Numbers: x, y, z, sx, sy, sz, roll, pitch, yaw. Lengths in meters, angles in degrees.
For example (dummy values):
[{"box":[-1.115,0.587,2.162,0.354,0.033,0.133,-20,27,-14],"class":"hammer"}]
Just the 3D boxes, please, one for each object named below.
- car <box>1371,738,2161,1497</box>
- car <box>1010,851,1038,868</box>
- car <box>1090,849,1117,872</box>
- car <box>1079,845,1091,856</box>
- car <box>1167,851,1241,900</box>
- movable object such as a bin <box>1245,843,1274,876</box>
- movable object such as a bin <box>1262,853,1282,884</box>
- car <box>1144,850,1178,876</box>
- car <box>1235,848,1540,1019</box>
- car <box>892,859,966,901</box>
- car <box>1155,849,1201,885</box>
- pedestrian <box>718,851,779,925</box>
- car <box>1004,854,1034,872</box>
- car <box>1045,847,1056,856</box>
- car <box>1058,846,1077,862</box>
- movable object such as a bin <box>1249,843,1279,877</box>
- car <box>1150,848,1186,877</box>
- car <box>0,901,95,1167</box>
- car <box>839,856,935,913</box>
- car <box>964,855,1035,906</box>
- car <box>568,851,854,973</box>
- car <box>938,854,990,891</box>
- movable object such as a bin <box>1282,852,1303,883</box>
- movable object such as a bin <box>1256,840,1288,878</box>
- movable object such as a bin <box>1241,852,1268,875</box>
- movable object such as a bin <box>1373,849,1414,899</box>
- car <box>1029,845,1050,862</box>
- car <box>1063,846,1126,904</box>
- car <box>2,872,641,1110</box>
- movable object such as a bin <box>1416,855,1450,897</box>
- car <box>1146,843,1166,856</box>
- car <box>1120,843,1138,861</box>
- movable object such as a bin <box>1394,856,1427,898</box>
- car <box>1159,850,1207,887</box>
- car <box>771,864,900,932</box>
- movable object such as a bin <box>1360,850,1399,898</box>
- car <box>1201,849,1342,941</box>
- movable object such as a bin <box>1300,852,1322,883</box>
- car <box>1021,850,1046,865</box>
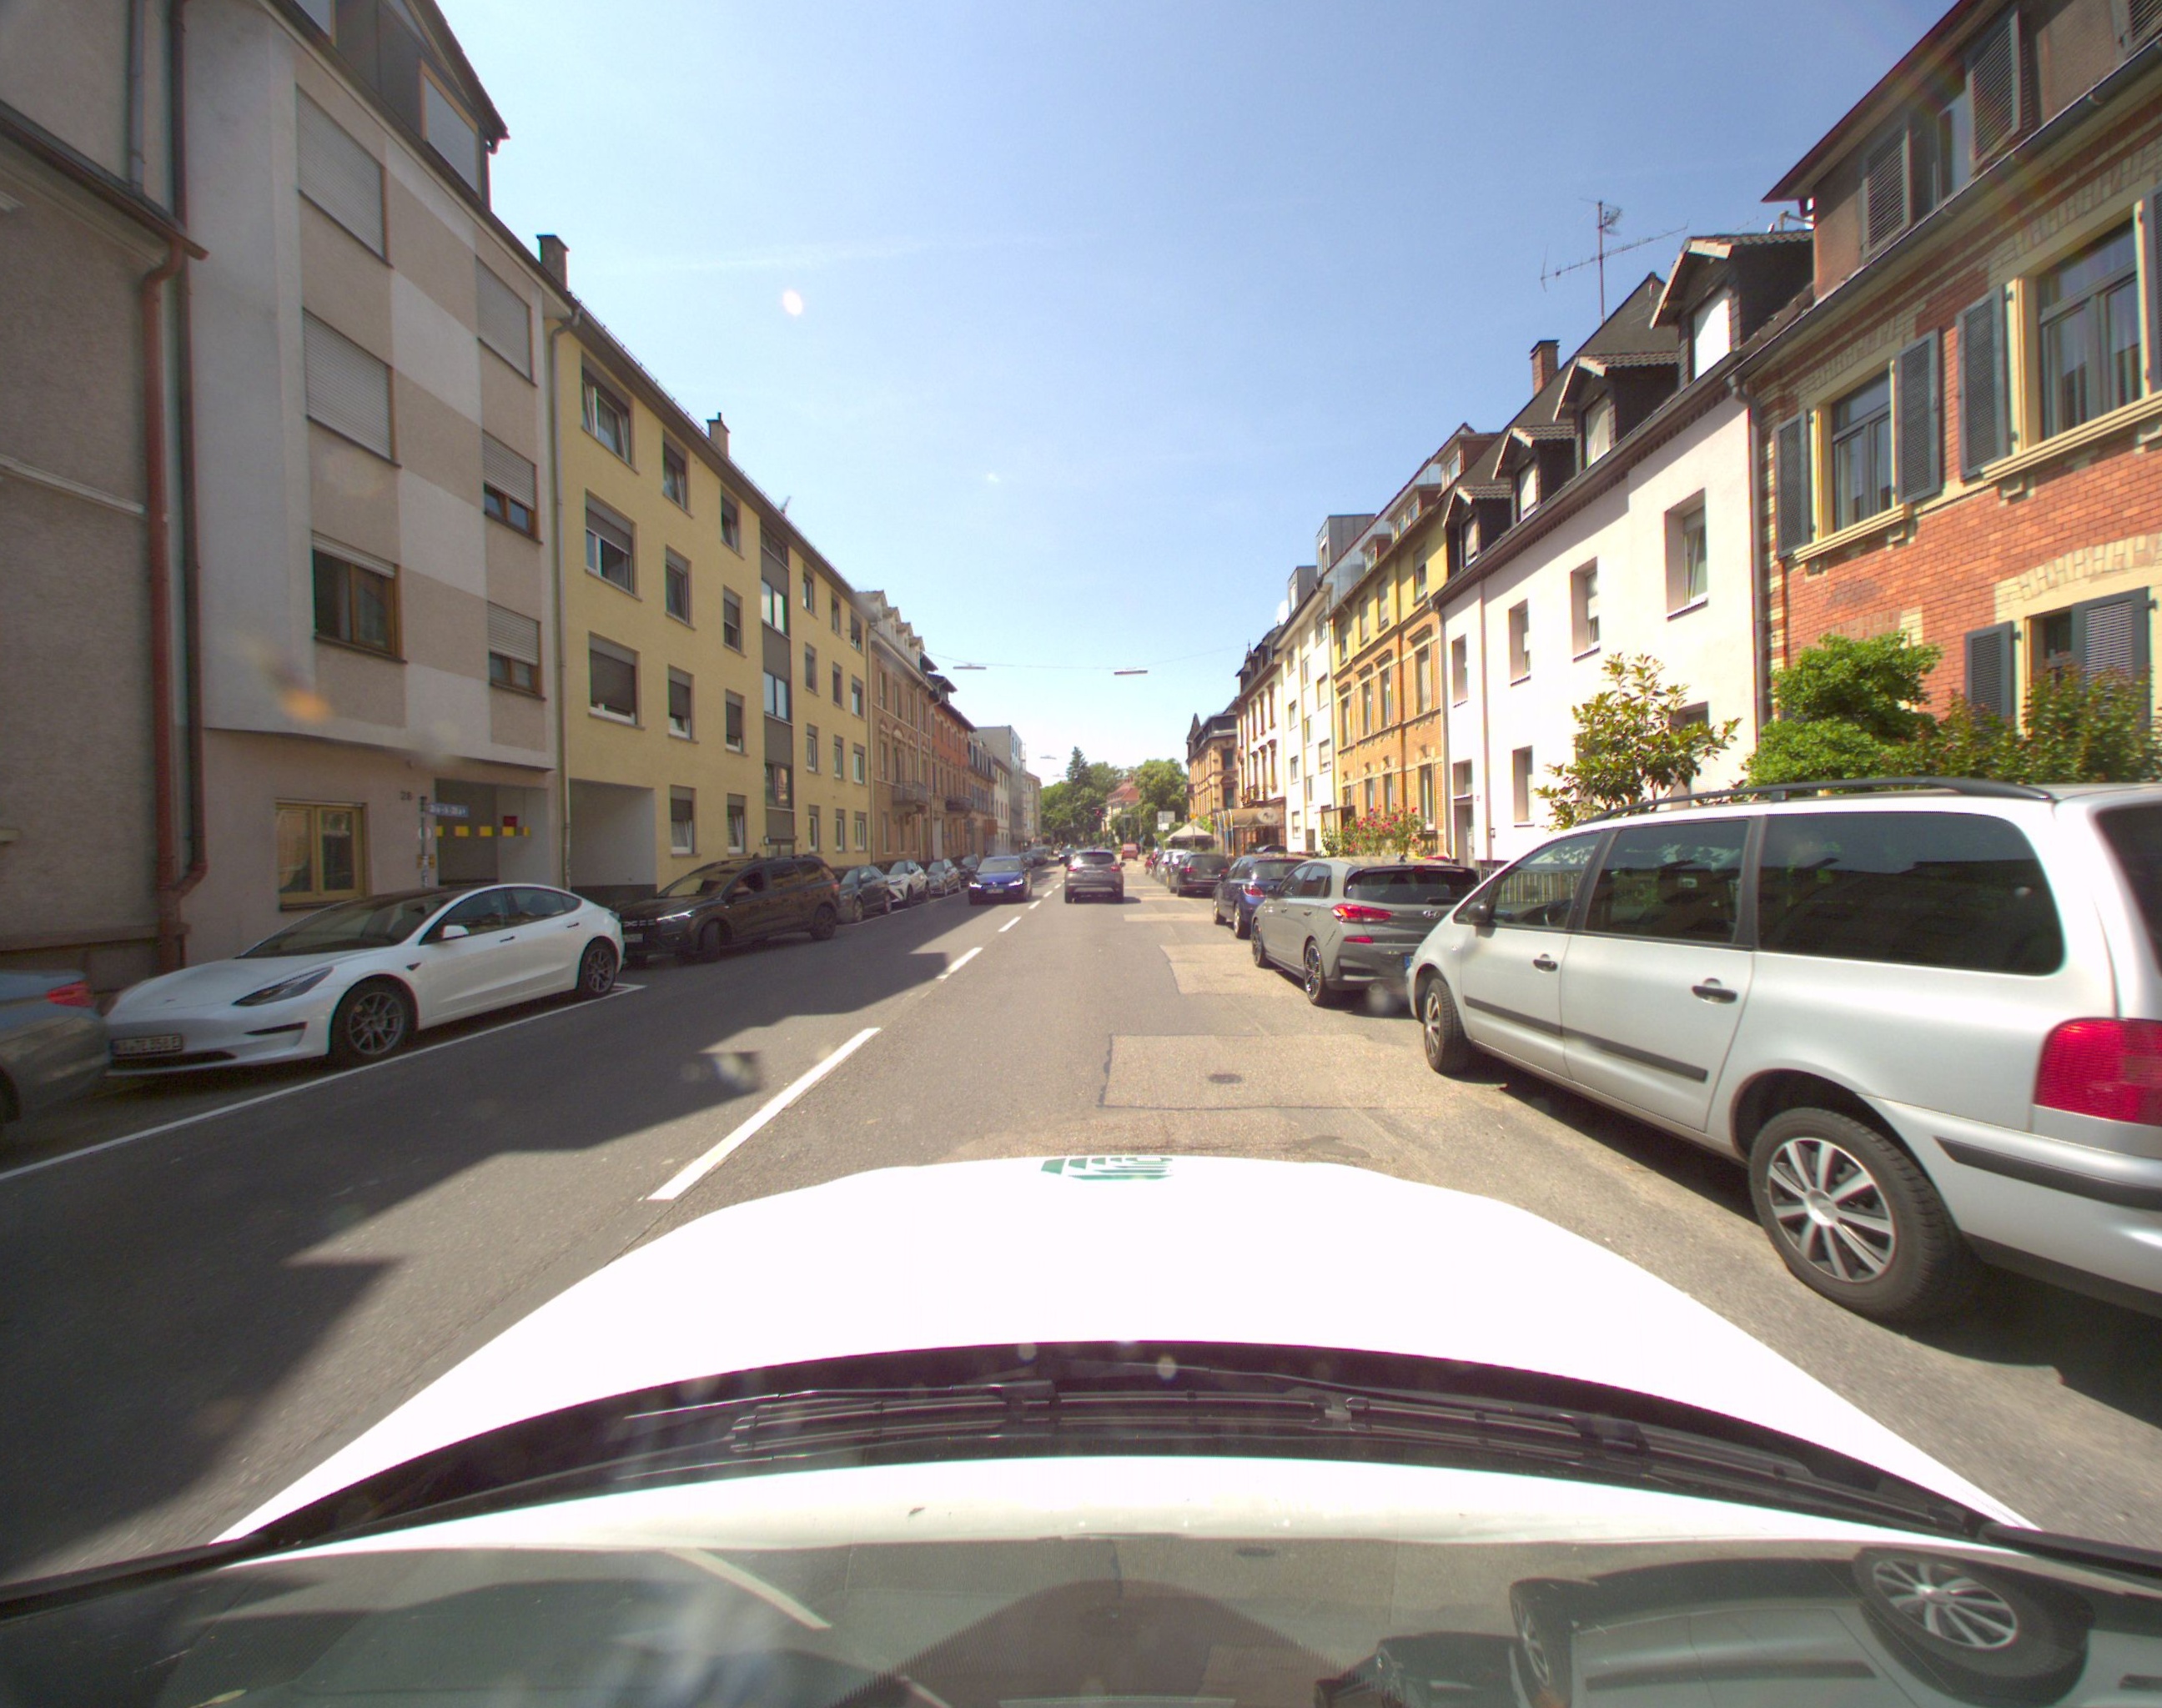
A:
[{"box":[3.322,0.579,4.227,1.855,1.747,4.614,0,1,-2],"class":"car"},{"box":[-5.039,0.467,72.592,1.897,1.291,4.306,-3,0,3],"class":"car"},{"box":[1.718,0.459,63.740,1.807,1.620,4.440,-3,0,-1],"class":"car"},{"box":[0.591,-0.576,125.660,1.786,1.626,3.740,-2,1,-2],"class":"car"},{"box":[4.051,0.663,27.594,1.854,1.465,4.618,0,1,1],"class":"car"},{"box":[7.883,0.242,36.061,1.038,1.402,1.255,-1,0,3],"class":"movable object such as a bin"},{"box":[7.522,0.571,32.106,0.635,1.177,0.912,-1,0,3],"class":"movable object such as a bin"},{"box":[4.785,0.499,48.959,1.607,1.443,3.435,-1,0,-2],"class":"car"},{"box":[3.139,0.689,9.397,1.855,1.487,4.308,0,1,-1],"class":"car"},{"box":[-5.975,0.978,32.619,1.898,1.401,4.756,-4,0,1],"class":"car"},{"box":[4.558,0.574,38.620,1.853,1.553,4.002,0,1,2],"class":"car"},{"box":[-8.343,0.830,20.501,0.962,1.750,1.156,-2,0,2],"class":"pedestrian"},{"box":[-5.081,0.713,67.182,1.896,1.291,4.307,-3,0,3],"class":"car"},{"box":[-5.737,-0.550,154.506,1.783,1.626,3.746,-2,1,3],"class":"car"},{"box":[-1.481,0.049,88.553,1.933,1.626,3.999,-1,-1,0],"class":"car"},{"box":[7.811,0.243,34.805,1.038,1.402,1.255,-1,0,3],"class":"movable object such as a bin"},{"box":[4.574,0.408,43.251,1.605,1.461,3.506,-1,0,2],"class":"car"},{"box":[-6.780,1.056,2.492,1.835,1.422,4.643,-4,0,-2],"class":"car"},{"box":[-6.120,0.905,26.252,1.898,1.510,4.303,-4,0,1],"class":"car"},{"box":[-2.537,0.796,26.223,1.810,1.388,3.999,-3,0,0],"class":"car"},{"box":[-6.223,0.887,14.431,1.889,1.637,4.580,-4,0,18],"class":"car"},{"box":[-5.907,0.893,41.717,1.898,1.619,4.302,-4,0,0],"class":"car"},{"box":[8.328,0.527,32.071,0.635,1.186,0.853,-1,0,3],"class":"movable object such as a bin"},{"box":[7.812,0.196,33.432,1.038,1.518,1.448,-1,0,3],"class":"movable object such as a bin"},{"box":[7.918,0.431,37.198,1.038,1.023,0.992,-1,0,3],"class":"movable object such as a bin"},{"box":[7.016,0.441,18.293,0.649,1.083,0.684,-2,0,4],"class":"movable object such as a bin"},{"box":[-4.763,-0.103,93.482,1.897,1.821,4.305,-3,0,2],"class":"car"},{"box":[0.424,0.589,25.289,1.738,1.616,4.001,-2,0,1],"class":"car"},{"box":[-6.620,1.022,8.051,1.833,1.422,4.560,-5,0,2],"class":"car"},{"box":[9.213,0.563,21.319,0.557,1.050,0.667,-3,0,0],"class":"movable object such as a bin"},{"box":[9.538,-0.555,103.567,1.884,1.508,3.959,-3,0,15],"class":"car"},{"box":[5.577,-0.244,95.103,1.986,2.013,4.468,-3,0,2],"class":"car"},{"box":[8.616,0.587,21.316,0.557,1.050,0.667,-3,0,0],"class":"movable object such as a bin"},{"box":[4.271,0.580,34.471,1.653,1.441,4.002,-1,1,2],"class":"car"},{"box":[-6.215,1.052,21.131,1.898,1.379,4.063,-4,0,2],"class":"car"},{"box":[6.996,0.460,19.097,0.649,1.083,0.684,-2,0,4],"class":"movable object such as a bin"},{"box":[3.488,0.658,15.769,1.690,1.487,4.618,0,1,1],"class":"car"},{"box":[9.039,0.538,32.051,0.665,1.177,0.853,-1,0,3],"class":"movable object such as a bin"},{"box":[-4.614,0.303,79.458,1.897,1.291,4.305,-3,0,2],"class":"car"}]
